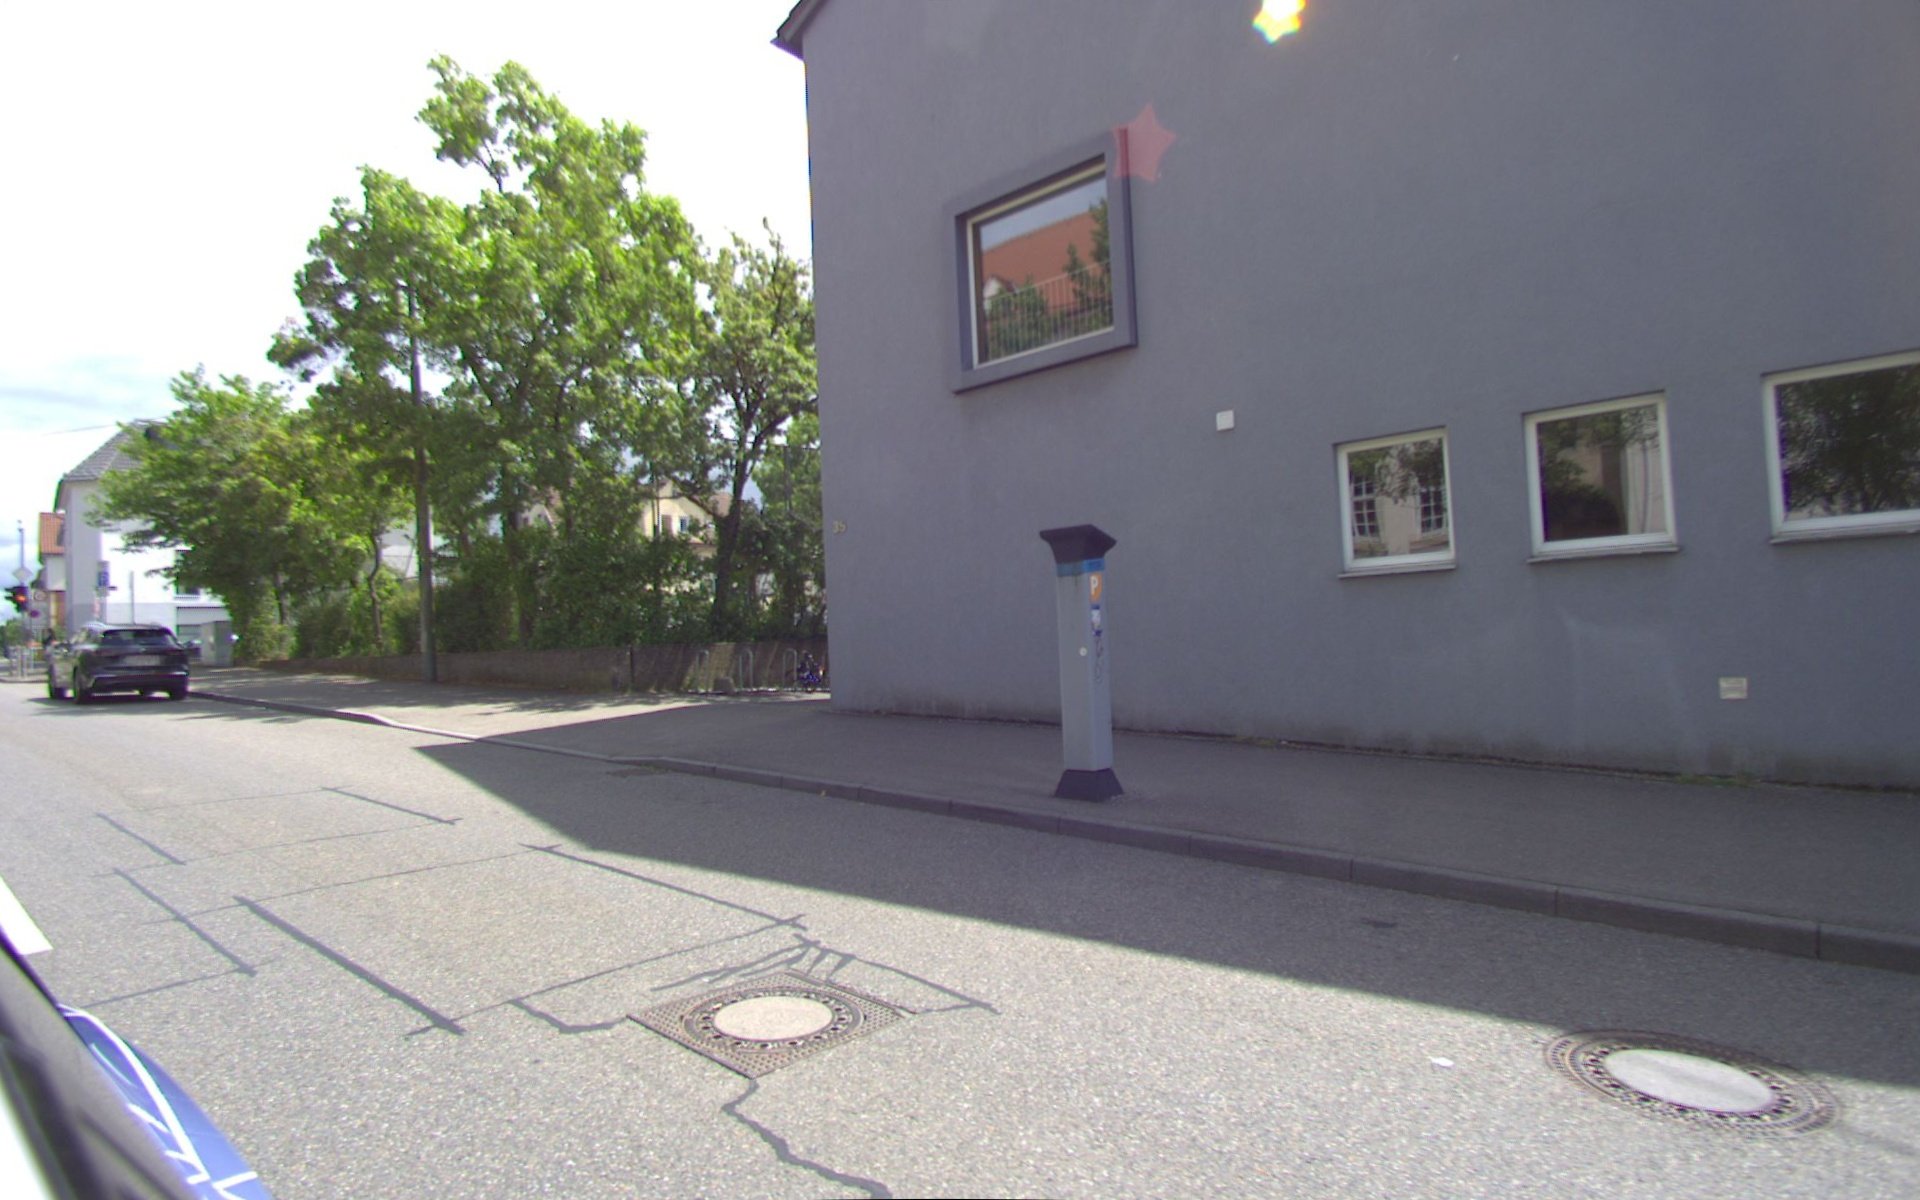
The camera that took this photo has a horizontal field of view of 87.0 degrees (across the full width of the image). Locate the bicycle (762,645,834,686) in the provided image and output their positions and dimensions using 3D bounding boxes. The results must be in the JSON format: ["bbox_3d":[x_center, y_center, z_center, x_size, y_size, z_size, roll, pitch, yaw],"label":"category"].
[{"bbox_3d":[-3.079,1.233,19.175,1.443,0.756,0.580,-3,-5,44],"label":"bicycle"}]

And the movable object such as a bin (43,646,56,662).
[{"bbox_3d":[-62.526,3.718,69.496,0.660,1.083,0.633,-3,-2,43],"label":"movable object such as a bin"}]

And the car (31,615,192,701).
[{"bbox_3d":[-18.119,1.209,21.531,4.640,1.622,1.778,-3,-2,39],"label":"car"}]

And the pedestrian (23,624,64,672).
[{"bbox_3d":[-31.515,1.653,34.801,0.663,1.609,0.771,-2,-1,5],"label":"pedestrian"}]
